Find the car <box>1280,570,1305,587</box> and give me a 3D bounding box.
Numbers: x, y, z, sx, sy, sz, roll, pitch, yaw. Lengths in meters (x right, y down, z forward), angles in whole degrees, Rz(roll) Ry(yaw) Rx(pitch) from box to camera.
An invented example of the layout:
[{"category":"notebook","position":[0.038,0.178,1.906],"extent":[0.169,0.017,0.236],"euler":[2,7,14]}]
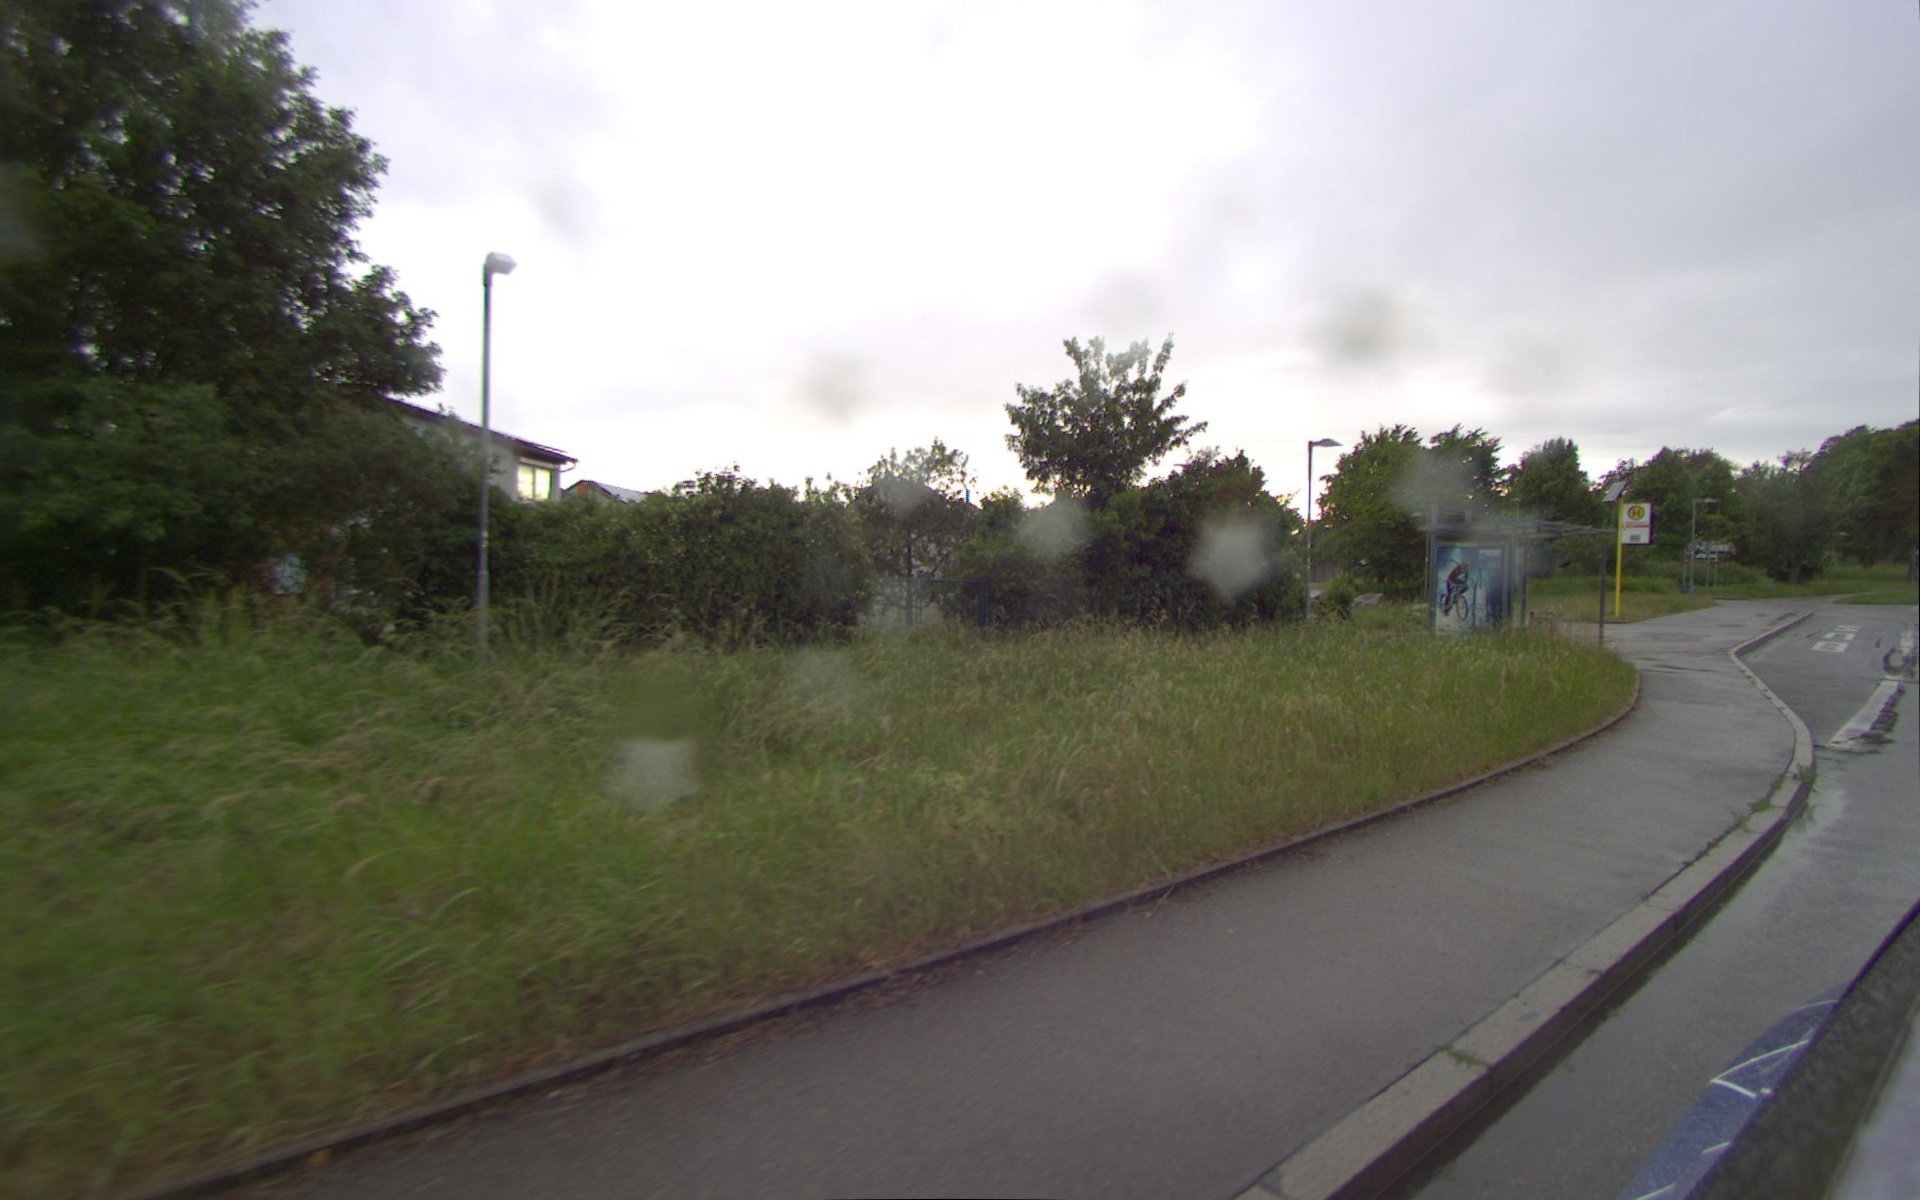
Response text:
[{"category":"car","position":[30.494,-1.989,92.879],"extent":[1.796,1.522,3.582],"euler":[1,2,25]}]
